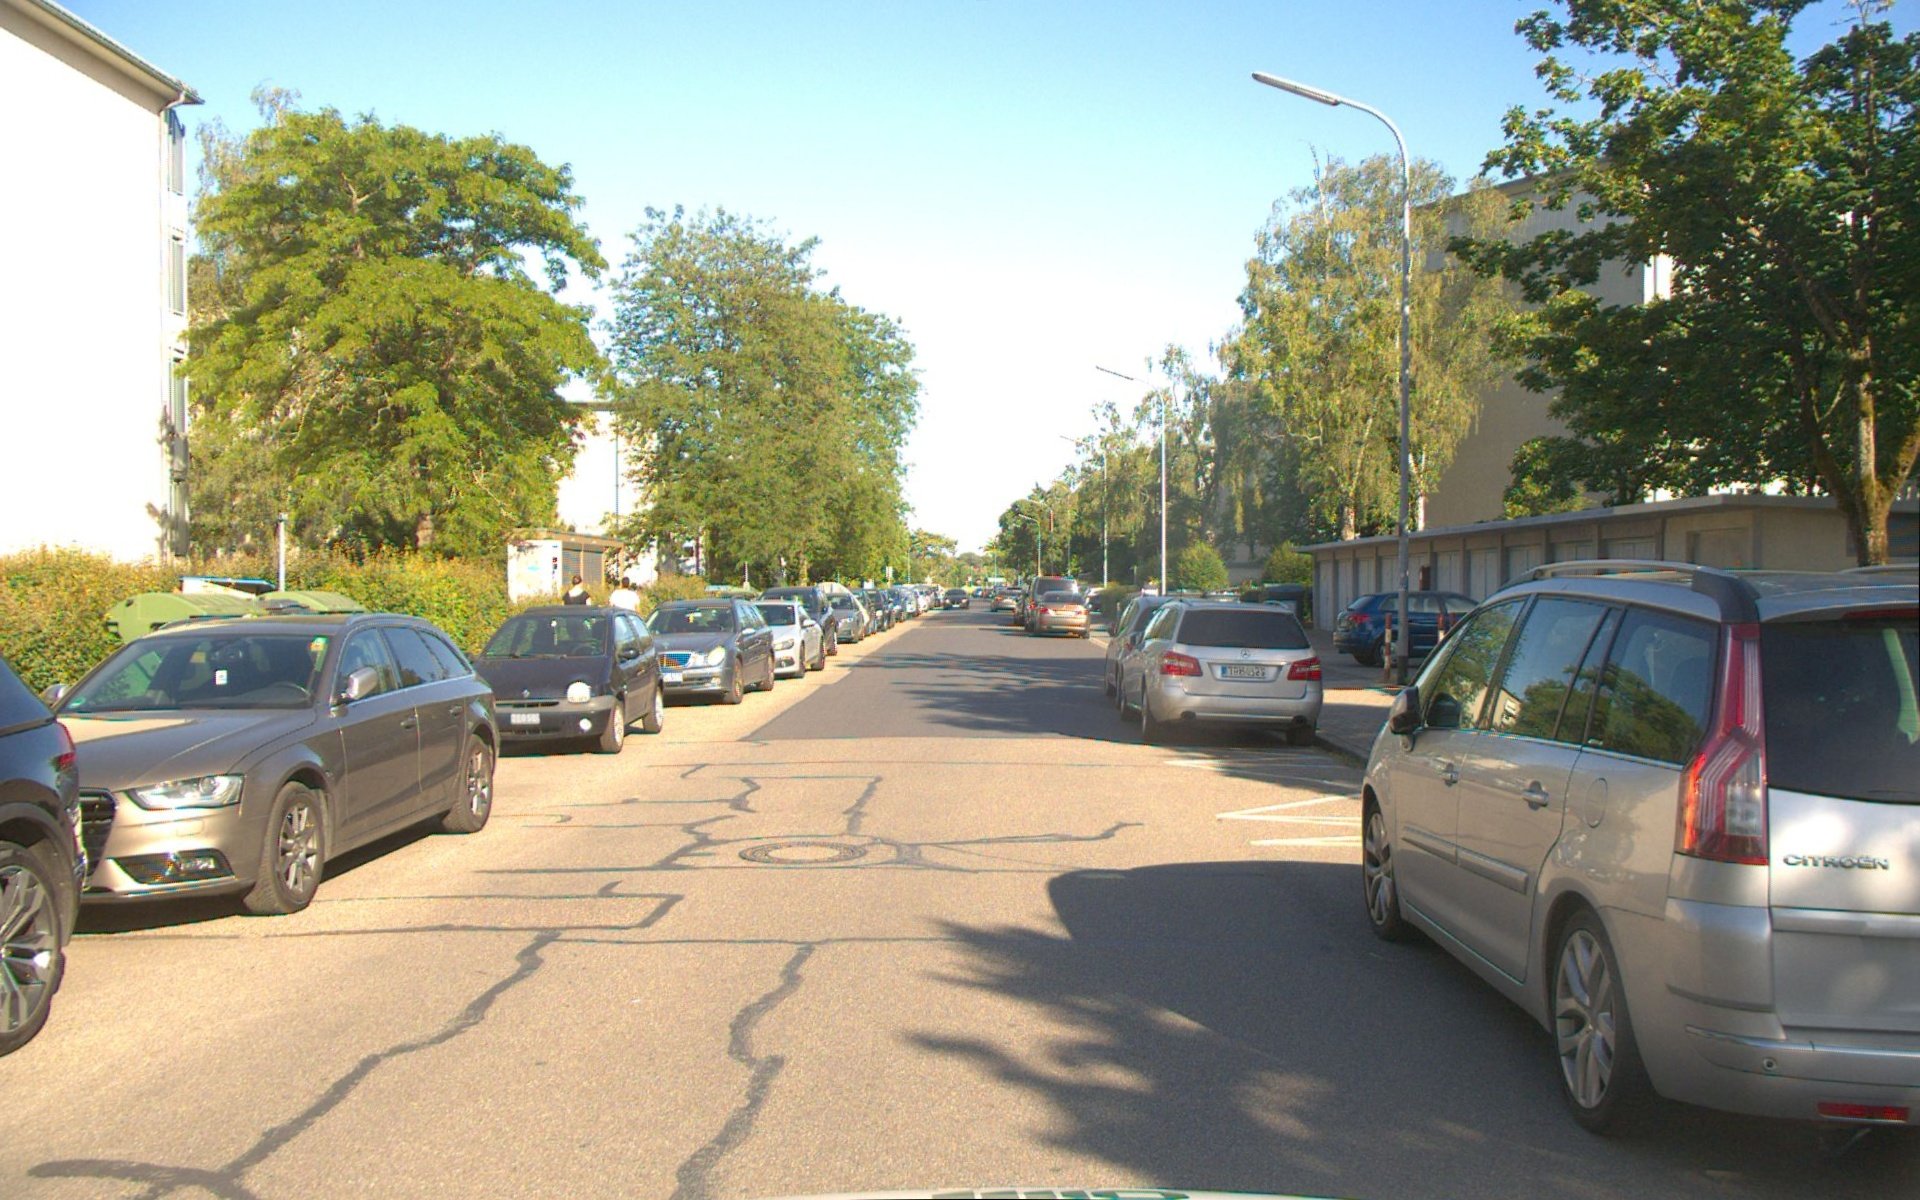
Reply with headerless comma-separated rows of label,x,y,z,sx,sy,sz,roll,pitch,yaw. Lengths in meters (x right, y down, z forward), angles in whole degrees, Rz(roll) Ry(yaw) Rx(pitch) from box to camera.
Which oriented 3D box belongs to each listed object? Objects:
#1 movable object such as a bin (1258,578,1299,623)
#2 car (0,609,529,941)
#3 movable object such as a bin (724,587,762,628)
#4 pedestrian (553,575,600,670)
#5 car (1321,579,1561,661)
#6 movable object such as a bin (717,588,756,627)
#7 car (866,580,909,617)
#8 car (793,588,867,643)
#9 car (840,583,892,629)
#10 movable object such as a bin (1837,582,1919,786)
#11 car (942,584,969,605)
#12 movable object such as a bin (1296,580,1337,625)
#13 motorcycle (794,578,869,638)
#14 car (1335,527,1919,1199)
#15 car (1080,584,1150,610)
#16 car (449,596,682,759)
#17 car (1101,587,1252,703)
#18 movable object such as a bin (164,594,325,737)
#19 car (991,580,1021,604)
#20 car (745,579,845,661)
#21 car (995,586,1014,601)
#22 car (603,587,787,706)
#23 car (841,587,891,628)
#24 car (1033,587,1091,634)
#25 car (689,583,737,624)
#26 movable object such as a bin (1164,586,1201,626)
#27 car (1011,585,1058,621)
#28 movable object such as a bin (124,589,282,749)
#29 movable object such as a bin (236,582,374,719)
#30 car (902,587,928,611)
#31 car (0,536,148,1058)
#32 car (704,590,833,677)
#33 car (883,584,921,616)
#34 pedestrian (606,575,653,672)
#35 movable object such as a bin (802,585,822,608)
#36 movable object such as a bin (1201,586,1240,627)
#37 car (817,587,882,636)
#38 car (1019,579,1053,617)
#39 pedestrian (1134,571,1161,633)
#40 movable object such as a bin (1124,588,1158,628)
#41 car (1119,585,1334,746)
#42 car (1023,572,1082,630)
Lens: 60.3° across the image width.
movable object such as a bin,11.076,0.009,57.561,1.249,1.491,1.134,0,4,4
car,-3.963,0.784,9.578,1.718,1.409,4.674,-1,0,-1
movable object such as a bin,-7.815,0.254,59.670,1.153,1.432,1.343,0,0,1
pedestrian,-6.997,0.402,30.167,0.706,1.708,0.600,0,0,0
car,9.217,0.374,31.901,4.098,1.521,1.817,0,0,-3
movable object such as a bin,-7.874,0.257,58.253,1.153,1.310,1.343,0,0,1
car,-3.423,-0.104,78.305,1.718,1.634,3.969,-2,0,1
car,-3.712,0.417,47.846,1.718,1.445,4.269,-2,0,0
car,-3.475,0.195,61.614,1.719,1.601,3.719,-2,0,-1
movable object such as a bin,7.569,0.594,12.449,1.299,1.453,1.069,-2,1,-6
car,-0.295,-0.400,119.787,1.871,1.502,4.571,-1,1,0
movable object such as a bin,12.398,0.073,57.518,1.249,1.491,1.134,0,4,4
motorcycle,-3.990,0.242,51.402,2.211,1.757,0.932,-3,0,-3
car,2.709,0.639,6.138,1.718,1.655,4.496,0,1,2
car,9.824,-0.189,105.027,4.324,1.540,1.829,-1,0,1
car,-4.051,0.732,17.489,1.615,1.489,3.495,-1,1,0
car,3.037,0.588,23.876,1.767,1.521,3.796,0,1,1
movable object such as a bin,-7.457,0.661,17.309,1.096,1.390,1.257,3,0,-1
car,3.021,-0.528,108.925,1.646,1.540,4.103,2,0,-2
car,-3.662,0.404,37.309,1.718,1.664,4.370,-2,0,0
car,4.843,-0.712,180.403,1.759,1.589,3.950,1,0,-2
car,-3.823,0.628,24.711,1.718,1.516,4.902,-3,0,2
car,-3.737,0.262,66.305,1.718,1.506,4.537,-2,0,-1
car,3.306,0.303,54.152,1.763,1.443,4.637,1,0,2
car,-10.627,0.129,71.346,1.538,1.669,3.999,1,0,-1
movable object such as a bin,7.677,0.199,57.189,1.198,1.389,1.133,0,0,4
car,3.233,0.102,72.476,1.697,1.516,4.499,-1,0,-2
movable object such as a bin,-7.293,0.639,16.003,0.876,1.440,1.326,3,0,-1
movable object such as a bin,-7.339,0.548,18.614,0.981,1.440,1.326,3,0,-1
car,-3.007,-0.068,111.203,1.652,1.532,3.817,-1,0,-1
car,-3.988,0.673,4.149,1.718,1.697,4.390,-1,1,0
car,-3.492,0.587,30.842,1.718,1.450,4.211,-2,0,2
car,-3.091,-0.026,88.876,1.864,1.668,4.349,-1,0,0
pedestrian,-5.918,0.412,29.603,0.706,1.708,0.616,0,0,0
movable object such as a bin,-9.720,-0.244,108.729,1.111,1.445,1.361,2,0,2
movable object such as a bin,8.937,0.219,56.791,1.249,1.389,1.133,0,0,4
car,-3.650,0.357,55.048,1.718,1.506,3.960,-2,0,2
car,3.642,-0.092,79.636,1.458,1.748,2.583,1,0,0
pedestrian,5.889,0.066,52.027,0.688,1.921,0.872,-2,0,1
movable object such as a bin,6.360,0.282,58.138,1.004,1.333,1.388,-3,0,10
car,2.852,0.623,18.658,1.793,1.573,4.642,0,1,1
car,3.294,0.002,59.711,1.815,1.968,4.704,1,0,0
